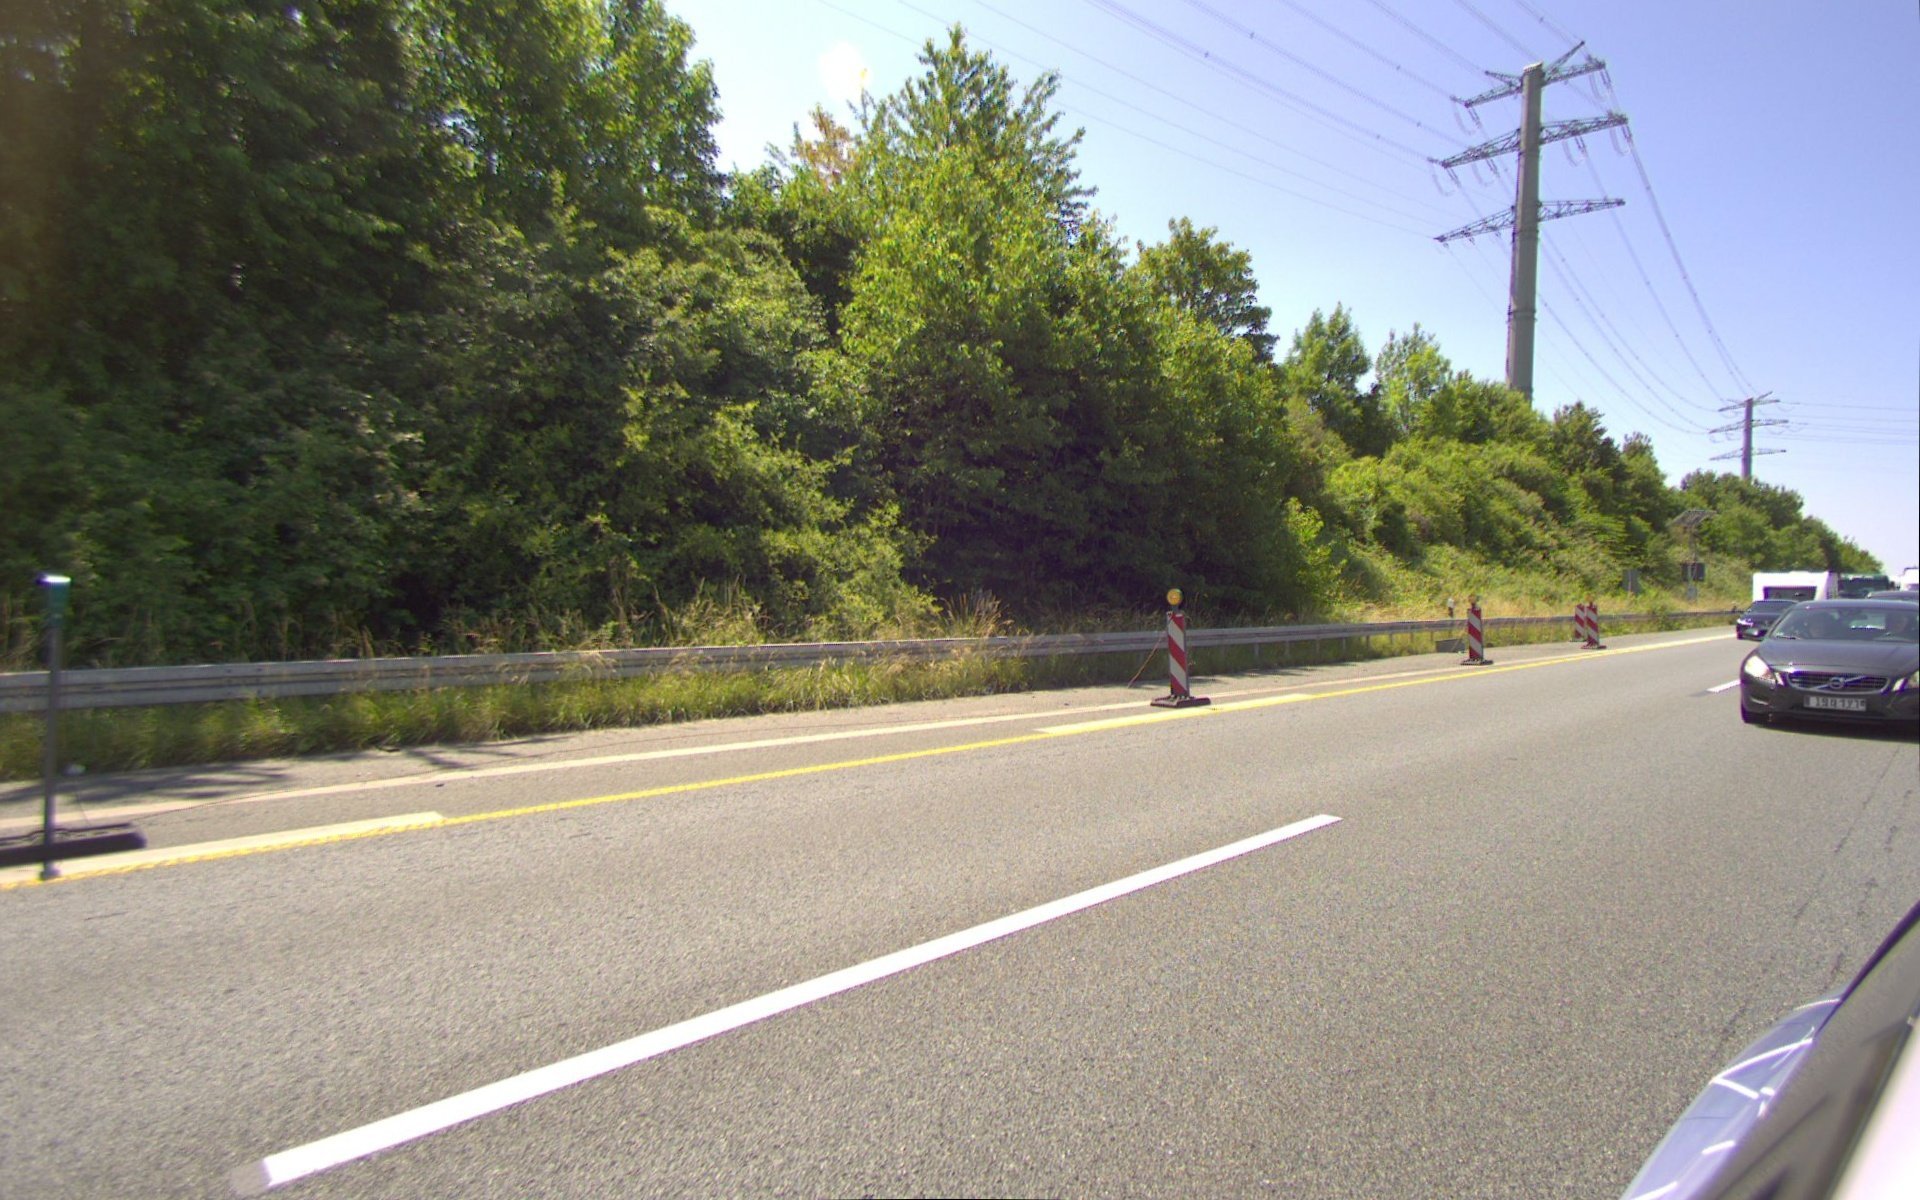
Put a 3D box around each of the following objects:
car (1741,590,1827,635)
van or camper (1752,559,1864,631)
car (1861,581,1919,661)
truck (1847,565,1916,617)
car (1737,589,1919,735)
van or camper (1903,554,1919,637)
[{"bbox_3d":[29.203,0.400,35.841,4.139,1.425,1.798,0,2,-43],"label":"car"},{"bbox_3d":[33.754,-0.223,40.135,8.275,2.596,2.429,0,1,-43],"label":"van or camper"},{"bbox_3d":[21.700,0.432,22.704,4.085,1.689,1.743,0,1,-41],"label":"car"},{"bbox_3d":[60.167,-0.543,66.033,7.514,3.181,2.428,0,-1,-41],"label":"truck"},{"bbox_3d":[10.692,0.610,11.936,3.932,1.459,1.796,0,1,-43],"label":"car"},{"bbox_3d":[33.270,-0.126,33.837,5.532,2.652,1.997,0,2,-42],"label":"van or camper"}]
